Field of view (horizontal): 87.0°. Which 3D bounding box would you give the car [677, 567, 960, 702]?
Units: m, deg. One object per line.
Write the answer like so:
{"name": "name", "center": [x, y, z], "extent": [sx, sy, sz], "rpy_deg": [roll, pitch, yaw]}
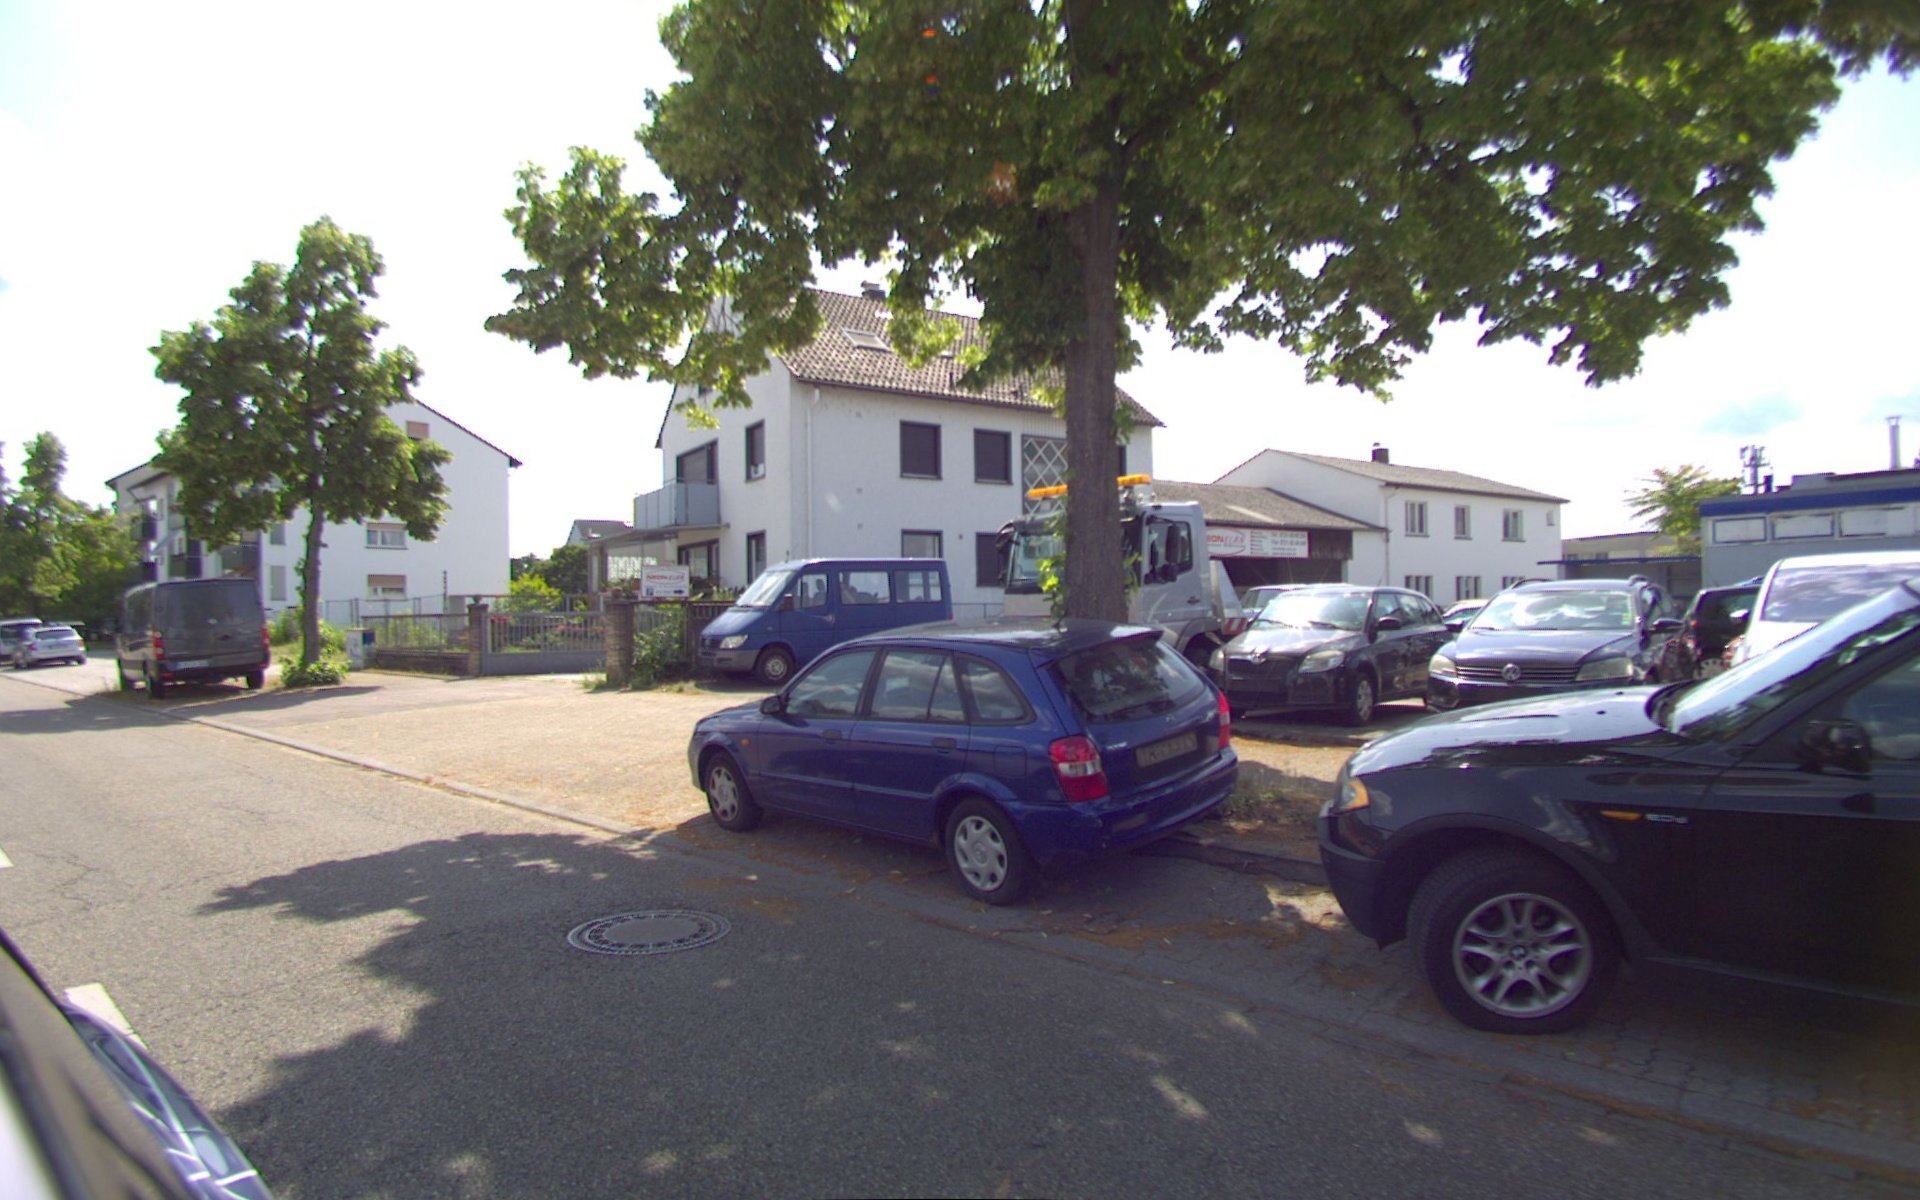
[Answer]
{"name": "car", "center": [-2.578, 0.556, 19.115], "extent": [4.934, 2.248, 2.005], "rpy_deg": [0, 0, -36]}

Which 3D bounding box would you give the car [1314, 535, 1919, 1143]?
{"name": "car", "center": [3.607, 0.629, 3.132], "extent": [4.398, 1.713, 1.676], "rpy_deg": [-2, 1, 41]}

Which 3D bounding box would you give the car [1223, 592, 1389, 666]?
{"name": "car", "center": [9.276, 0.711, 27.047], "extent": [4.421, 1.805, 2.005], "rpy_deg": [0, 0, -36]}

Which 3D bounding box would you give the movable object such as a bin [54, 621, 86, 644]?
{"name": "movable object such as a bin", "center": [-57.791, 2.118, 65.735], "extent": [1.288, 1.396, 1.284], "rpy_deg": [-3, -1, 35]}

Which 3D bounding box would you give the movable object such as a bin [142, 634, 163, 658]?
{"name": "movable object such as a bin", "center": [-43.311, 2.452, 54.303], "extent": [0.806, 1.223, 0.742], "rpy_deg": [-4, -2, 41]}

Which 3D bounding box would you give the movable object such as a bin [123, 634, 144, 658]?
{"name": "movable object such as a bin", "center": [-43.845, 2.449, 53.689], "extent": [0.806, 1.223, 0.742], "rpy_deg": [-4, -2, 41]}

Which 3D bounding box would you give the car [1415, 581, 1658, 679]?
{"name": "car", "center": [11.496, 0.578, 20.385], "extent": [1.622, 1.770, 3.927], "rpy_deg": [-1, -1, -43]}

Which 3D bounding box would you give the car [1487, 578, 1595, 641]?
{"name": "car", "center": [20.461, 0.308, 35.602], "extent": [3.851, 2.117, 1.857], "rpy_deg": [0, 0, -36]}

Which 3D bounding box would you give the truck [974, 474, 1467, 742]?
{"name": "truck", "center": [4.413, 0.152, 15.066], "extent": [9.150, 2.878, 2.722], "rpy_deg": [1, -2, -44]}

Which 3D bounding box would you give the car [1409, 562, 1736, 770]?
{"name": "car", "center": [6.232, 0.583, 10.046], "extent": [1.827, 1.594, 4.475], "rpy_deg": [-3, -3, 43]}

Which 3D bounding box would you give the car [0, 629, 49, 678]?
{"name": "car", "center": [-38.978, 2.177, 41.498], "extent": [4.489, 1.819, 1.791], "rpy_deg": [-2, 2, 41]}

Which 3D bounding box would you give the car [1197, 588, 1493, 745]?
{"name": "car", "center": [4.547, 0.695, 11.607], "extent": [1.678, 1.470, 4.150], "rpy_deg": [-3, -3, 43]}

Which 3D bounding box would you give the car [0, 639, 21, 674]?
{"name": "car", "center": [-43.542, 2.550, 45.511], "extent": [3.925, 1.480, 1.605], "rpy_deg": [-1, 1, 43]}

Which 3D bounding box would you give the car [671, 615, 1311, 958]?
{"name": "car", "center": [-0.083, 0.893, 6.609], "extent": [1.679, 1.495, 4.161], "rpy_deg": [-1, -1, -44]}

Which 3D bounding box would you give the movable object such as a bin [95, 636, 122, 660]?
{"name": "movable object such as a bin", "center": [-44.496, 2.498, 52.869], "extent": [0.824, 1.158, 0.944], "rpy_deg": [-4, -2, 41]}

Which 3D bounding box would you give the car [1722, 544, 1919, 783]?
{"name": "car", "center": [7.812, 0.452, 8.613], "extent": [1.826, 1.627, 4.250], "rpy_deg": [-3, -2, 40]}

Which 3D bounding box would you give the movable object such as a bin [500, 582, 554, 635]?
{"name": "movable object such as a bin", "center": [-13.693, 0.279, 31.968], "extent": [1.291, 1.443, 1.607], "rpy_deg": [-1, -7, -32]}

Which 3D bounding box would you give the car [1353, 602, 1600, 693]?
{"name": "car", "center": [9.524, 0.834, 18.862], "extent": [1.622, 1.490, 3.763], "rpy_deg": [-1, -1, -43]}

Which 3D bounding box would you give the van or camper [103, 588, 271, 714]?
{"name": "van or camper", "center": [-17.050, 1.026, 22.174], "extent": [5.935, 2.334, 1.972], "rpy_deg": [-2, 2, 44]}

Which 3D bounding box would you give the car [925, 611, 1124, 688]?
{"name": "car", "center": [1.388, 0.965, 21.376], "extent": [3.802, 1.416, 2.005], "rpy_deg": [0, 0, -36]}

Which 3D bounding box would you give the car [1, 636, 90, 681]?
{"name": "car", "center": [-34.502, 2.196, 38.143], "extent": [4.704, 1.472, 1.732], "rpy_deg": [-3, 1, 39]}
